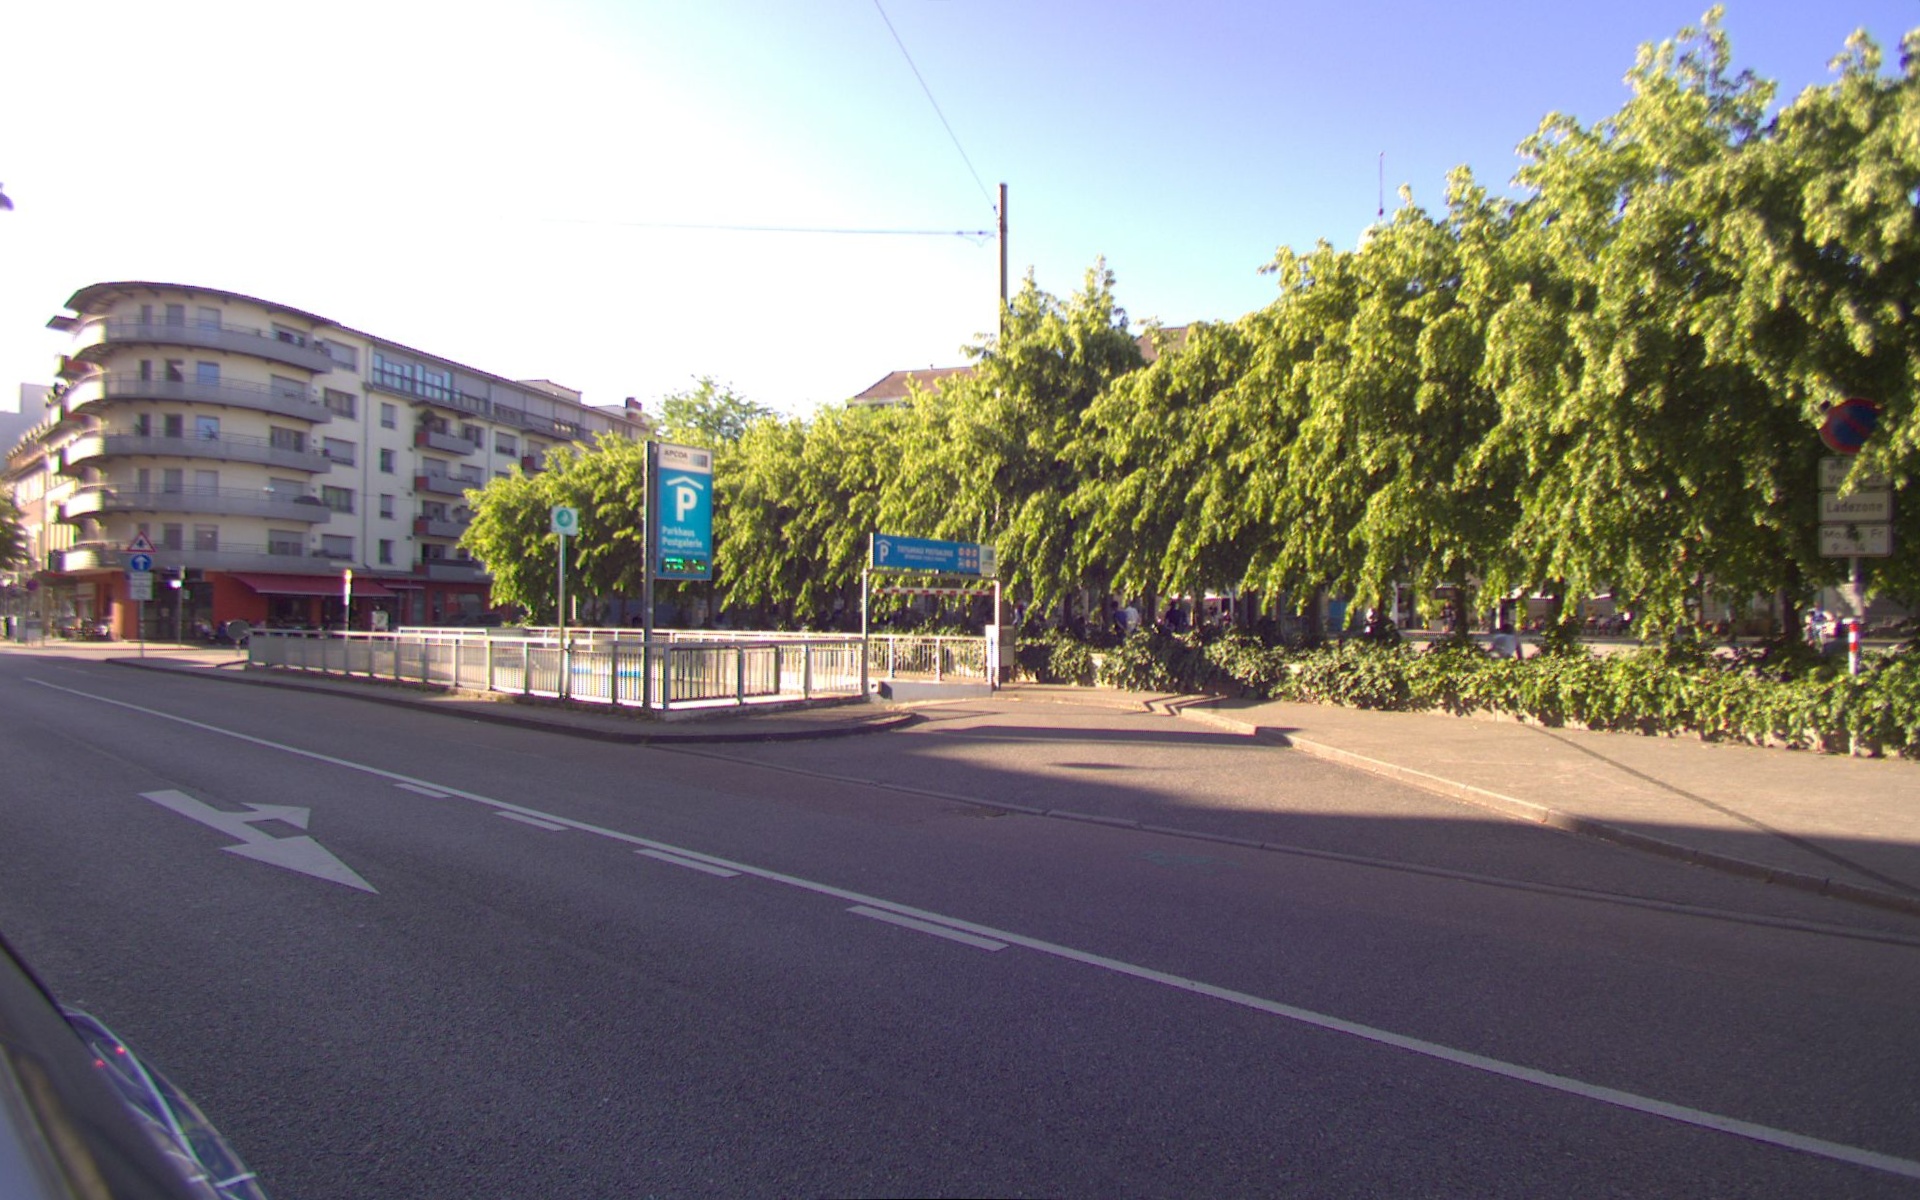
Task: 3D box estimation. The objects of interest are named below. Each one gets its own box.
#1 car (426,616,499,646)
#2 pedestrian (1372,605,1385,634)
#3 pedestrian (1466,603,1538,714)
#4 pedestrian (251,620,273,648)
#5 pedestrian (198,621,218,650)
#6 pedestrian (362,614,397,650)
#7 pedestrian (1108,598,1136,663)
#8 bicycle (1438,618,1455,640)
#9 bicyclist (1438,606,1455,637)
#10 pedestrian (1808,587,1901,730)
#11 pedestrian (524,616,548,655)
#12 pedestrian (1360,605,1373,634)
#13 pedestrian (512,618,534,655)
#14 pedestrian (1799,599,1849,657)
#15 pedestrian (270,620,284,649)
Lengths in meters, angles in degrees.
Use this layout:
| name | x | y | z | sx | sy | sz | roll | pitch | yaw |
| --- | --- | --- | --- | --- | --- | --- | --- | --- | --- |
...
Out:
| name | x | y | z | sx | sy | sz | roll | pitch | yaw |
| --- | --- | --- | --- | --- | --- | --- | --- | --- | --- |
| car | -31.375 | 1.927 | 63.915 | 1.983 | 1.763 | 3.978 | -1 | -1 | 17 |
| pedestrian | 28.229 | 1.333 | 68.329 | 0.751 | 1.948 | 0.938 | 0 | -1 | 20 |
| pedestrian | 8.951 | 0.933 | 16.710 | 0.885 | 1.771 | 0.738 | 0 | -1 | -39 |
| pedestrian | -37.579 | 1.829 | 54.478 | 0.782 | 1.473 | 0.582 | 0 | -1 | 3 |
| pedestrian | -38.579 | 1.794 | 51.907 | 0.780 | 1.472 | 0.583 | 0 | -1 | -40 |
| pedestrian | -32.987 | 1.813 | 57.549 | 1.251 | 2.029 | 1.226 | -1 | -1 | 19 |
| pedestrian | 4.279 | 0.796 | 26.660 | 0.672 | 1.683 | 0.843 | -1 | -1 | 13 |
| bicycle | 22.591 | 1.336 | 46.976 | 0.586 | 0.961 | 1.888 | -1 | -1 | 28 |
| bicyclist | 22.590 | 1.007 | 47.003 | 0.670 | 1.439 | 0.692 | -1 | -1 | 28 |
| pedestrian | 11.579 | 0.728 | 13.103 | 0.885 | 1.771 | 0.738 | 0 | -1 | -39 |
| pedestrian | -20.010 | 1.654 | 47.744 | 0.753 | 1.819 | 0.748 | -1 | -1 | 25 |
| pedestrian | 27.432 | 1.339 | 68.316 | 0.751 | 1.948 | 0.938 | -1 | -1 | 20 |
| pedestrian | -20.367 | 1.680 | 47.129 | 0.697 | 1.719 | 0.667 | -1 | -1 | 33 |
| pedestrian | 26.848 | 0.872 | 31.463 | 0.889 | 1.771 | 0.735 | 0 | -1 | 10 |
| pedestrian | -36.158 | 1.829 | 53.599 | 0.573 | 1.501 | 0.794 | 0 | -1 | -36 |
